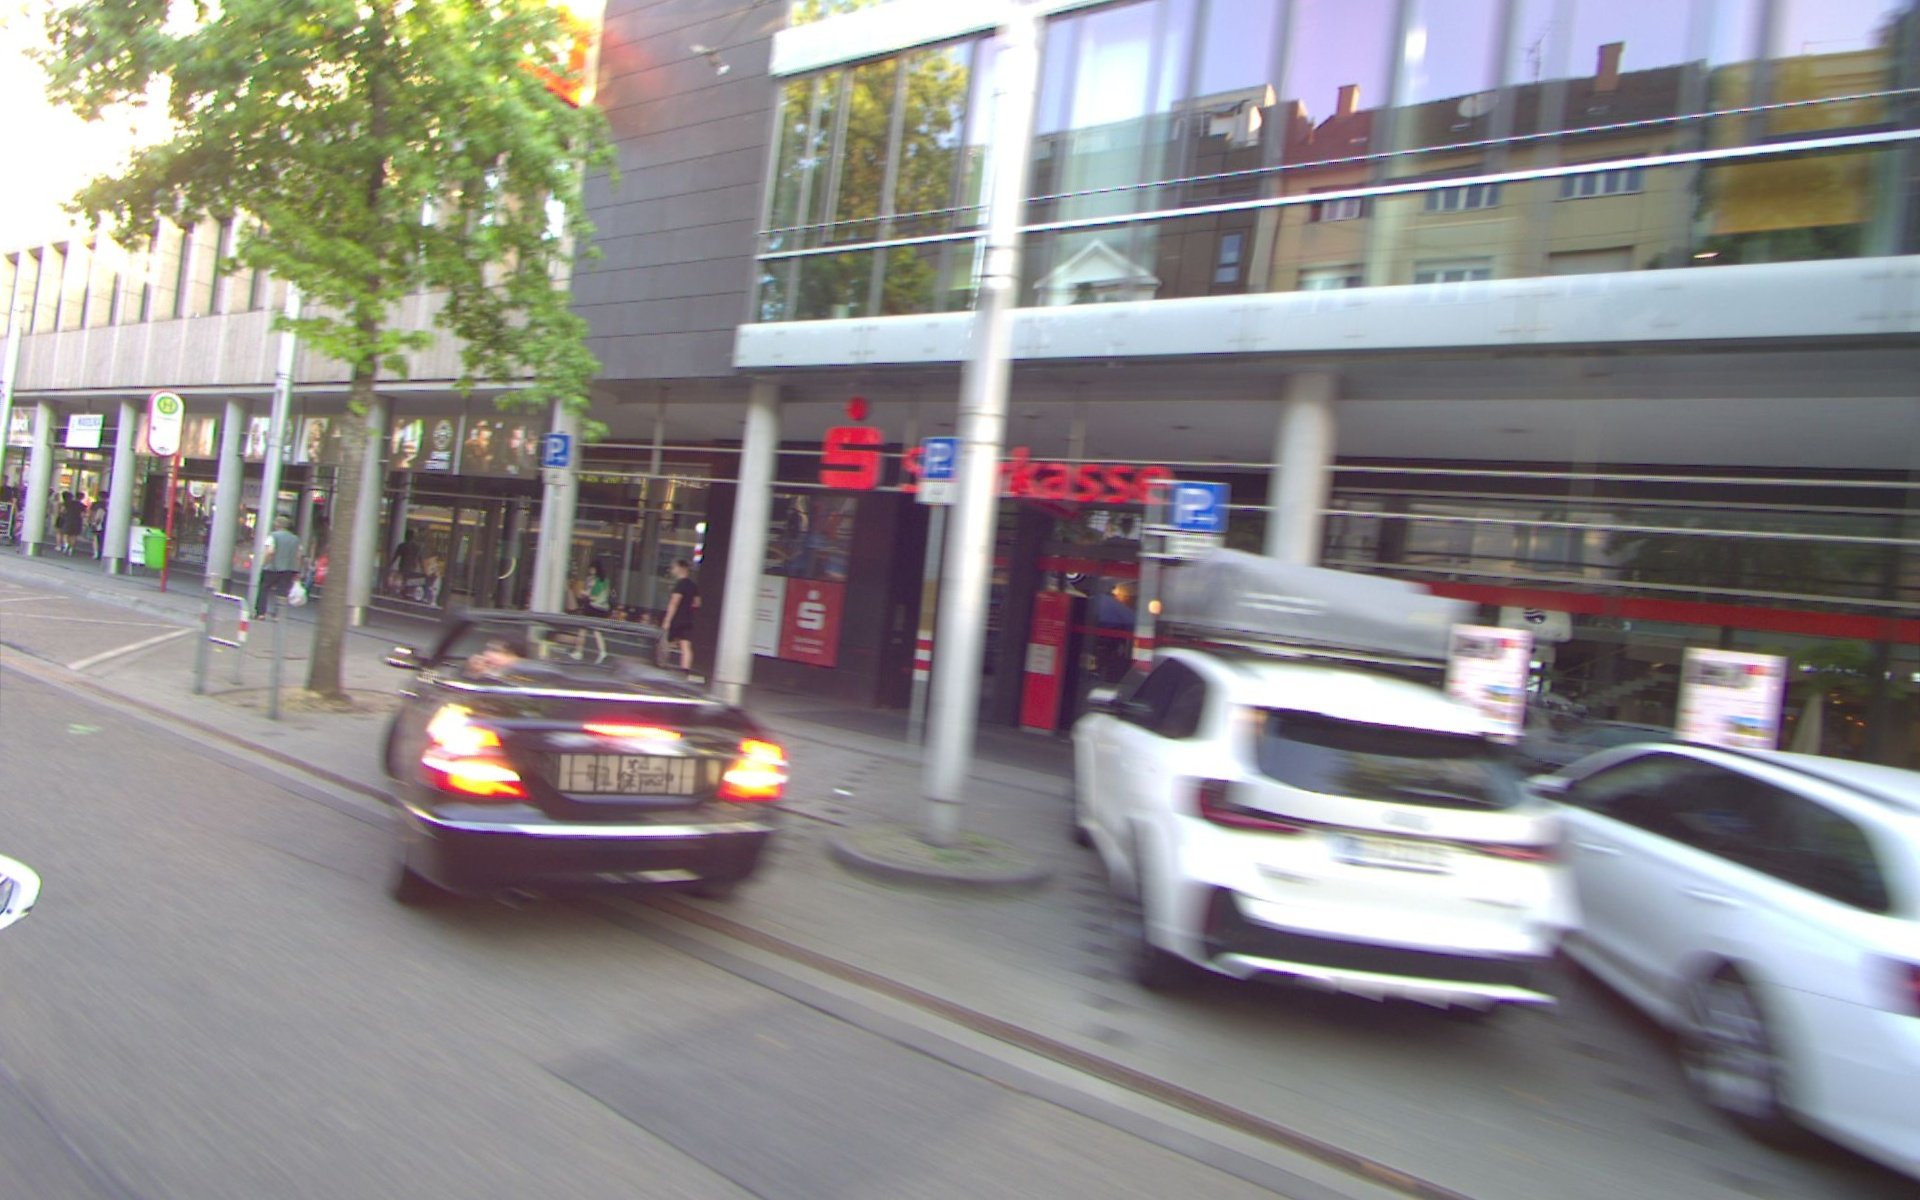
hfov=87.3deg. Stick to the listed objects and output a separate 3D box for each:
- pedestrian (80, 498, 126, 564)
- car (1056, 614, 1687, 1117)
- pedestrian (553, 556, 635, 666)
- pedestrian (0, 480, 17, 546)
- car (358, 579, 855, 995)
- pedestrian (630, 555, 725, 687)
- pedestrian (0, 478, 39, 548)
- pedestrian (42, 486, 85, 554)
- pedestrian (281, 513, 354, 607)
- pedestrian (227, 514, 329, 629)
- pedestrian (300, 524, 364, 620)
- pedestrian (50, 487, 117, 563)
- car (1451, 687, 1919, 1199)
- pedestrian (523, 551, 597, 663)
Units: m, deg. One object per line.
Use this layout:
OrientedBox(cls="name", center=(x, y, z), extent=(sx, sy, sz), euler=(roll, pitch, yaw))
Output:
OrientedBox(cls="pedestrian", center=(-22.944, -1.840, 26.931), extent=(0.815, 1.637, 0.596), euler=(8, 2, 32))
OrientedBox(cls="car", center=(1.818, 1.089, 6.072), extent=(1.885, 1.659, 4.204), euler=(7, 1, 0))
OrientedBox(cls="pedestrian", center=(-5.933, 0.183, 16.298), extent=(1.004, 1.637, 0.597), euler=(8, 2, 31))
OrientedBox(cls="pedestrian", center=(-28.113, -2.580, 29.293), extent=(0.694, 1.863, 0.701), euler=(8, 2, 31))
OrientedBox(cls="car", center=(-2.405, 0.751, 6.002), extent=(1.788, 1.364, 4.412), euler=(8, -1, -30))
OrientedBox(cls="pedestrian", center=(-4.128, 0.314, 14.717), extent=(0.742, 1.805, 0.878), euler=(8, 2, 31))
OrientedBox(cls="pedestrian", center=(-26.770, -2.472, 28.488), extent=(0.815, 1.863, 0.701), euler=(8, 2, 32))
OrientedBox(cls="pedestrian", center=(-26.021, -2.318, 29.189), extent=(0.815, 1.863, 0.596), euler=(8, 2, 32))
OrientedBox(cls="pedestrian", center=(-13.803, -0.850, 21.619), extent=(0.928, 1.859, 0.833), euler=(8, 1, 32))
OrientedBox(cls="pedestrian", center=(-10.550, -0.432, 15.579), extent=(0.742, 1.599, 0.879), euler=(8, -1, 31))
OrientedBox(cls="pedestrian", center=(-11.468, -0.504, 18.384), extent=(0.743, 1.637, 0.596), euler=(8, 2, 32))
OrientedBox(cls="pedestrian", center=(-24.252, -2.066, 27.833), extent=(0.913, 1.901, 1.054), euler=(8, 2, 31))
OrientedBox(cls="car", center=(4.162, 1.450, 4.918), extent=(1.828, 1.476, 4.184), euler=(6, 1, 8))
OrientedBox(cls="pedestrian", center=(-6.232, 0.117, 15.672), extent=(0.742, 1.637, 0.597), euler=(8, 2, 31))
